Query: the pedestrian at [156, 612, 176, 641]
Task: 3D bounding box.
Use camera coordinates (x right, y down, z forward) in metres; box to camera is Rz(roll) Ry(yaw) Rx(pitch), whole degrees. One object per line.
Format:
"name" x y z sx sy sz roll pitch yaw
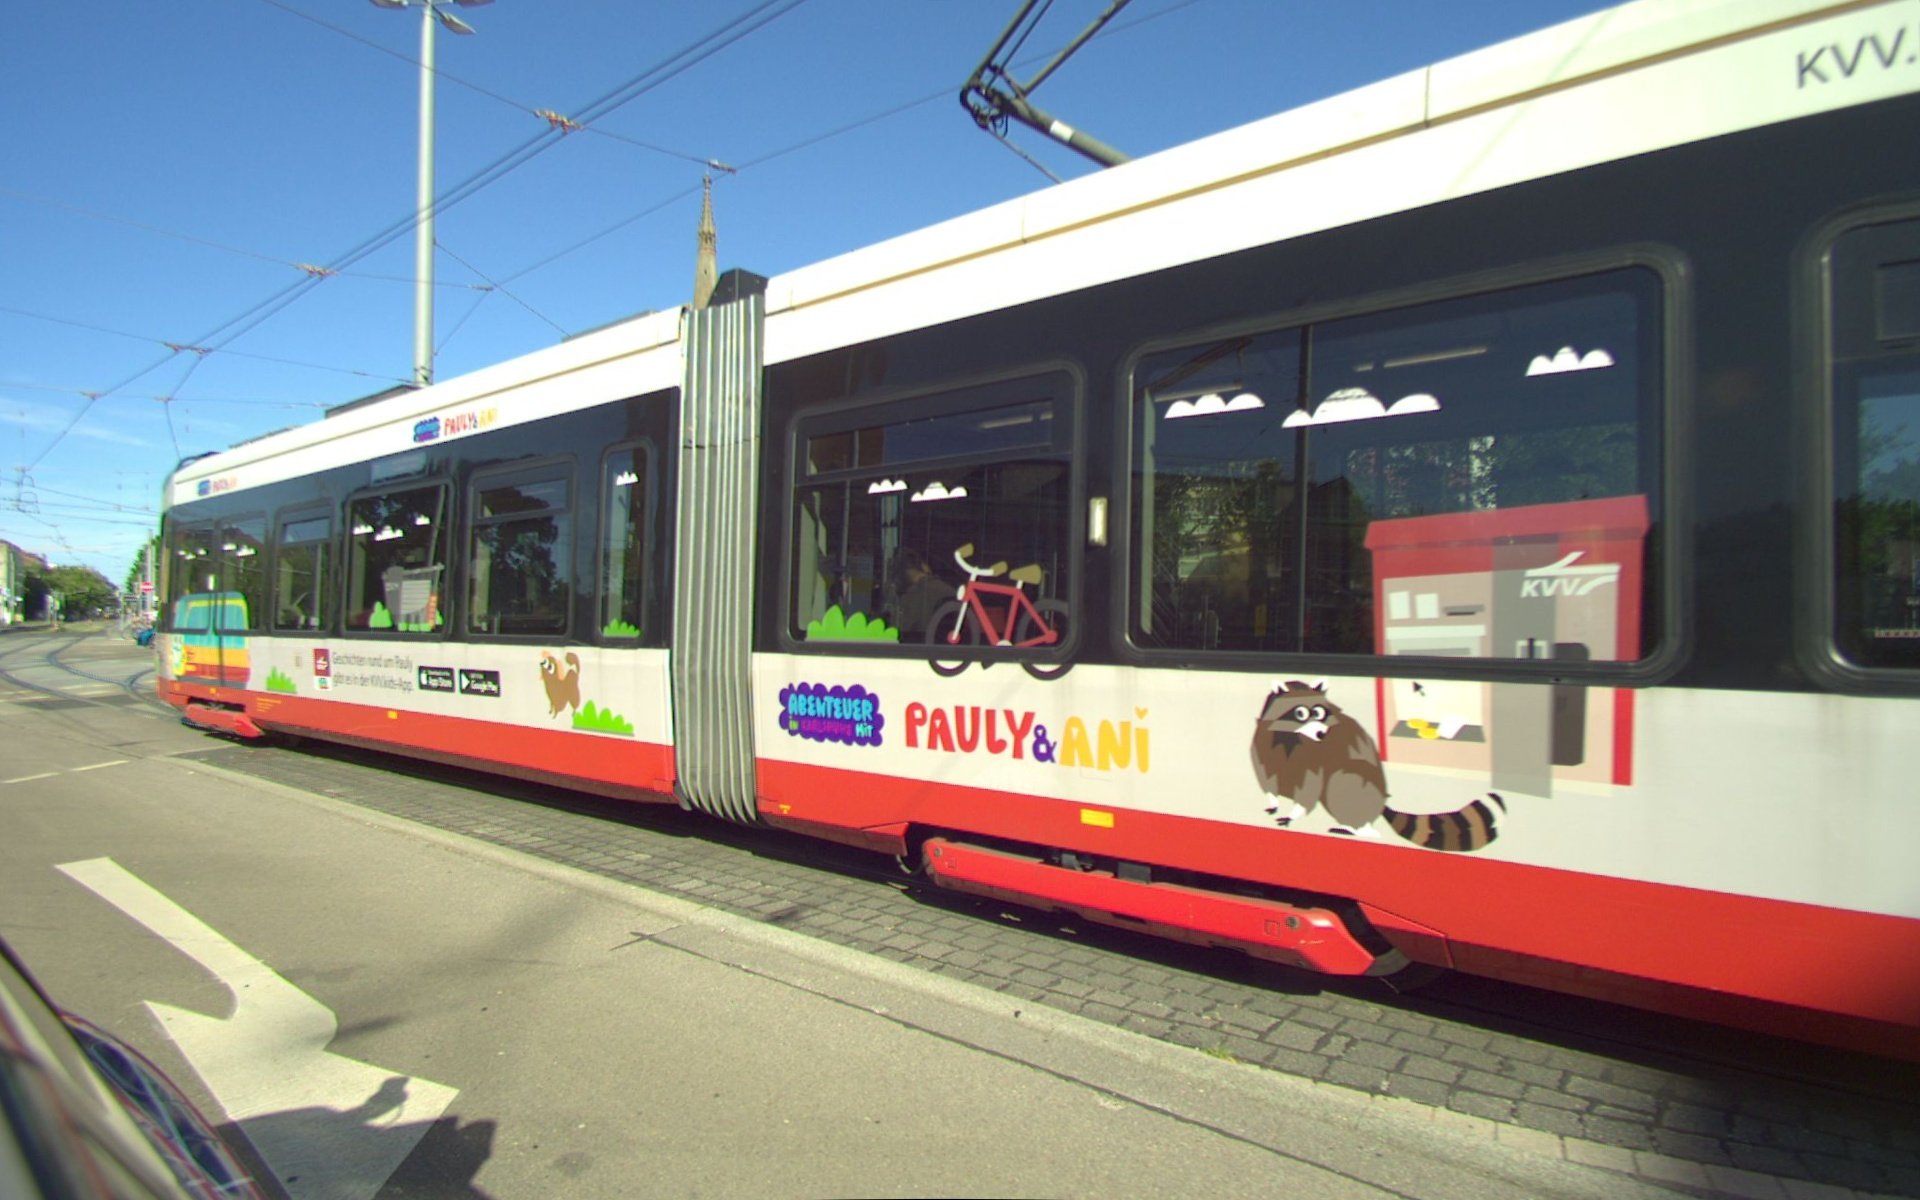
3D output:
"pedestrian" -46.085 1.521 58.749 0.604 1.619 0.708 0 1 25

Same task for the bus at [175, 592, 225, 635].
"bus" -65.704 1.085 87.413 2.806 3.144 11.841 -2 3 -40

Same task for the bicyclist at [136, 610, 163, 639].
"bicyclist" -44.784 1.334 55.921 0.592 1.561 0.988 0 0 23

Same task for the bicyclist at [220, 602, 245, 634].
"bicyclist" -38.174 0.929 53.094 0.750 1.688 0.794 0 -1 3

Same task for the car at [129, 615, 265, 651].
"car" -33.651 1.420 44.810 4.520 1.469 1.920 0 0 -25

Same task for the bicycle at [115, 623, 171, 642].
"bicycle" -45.627 1.787 56.549 0.612 0.997 2.458 0 -1 22

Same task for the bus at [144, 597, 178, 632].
"bus" -74.357 1.333 94.254 2.106 3.069 8.577 -2 0 -37

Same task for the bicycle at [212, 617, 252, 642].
"bicycle" -38.171 1.548 53.117 0.608 1.266 1.962 0 -1 3

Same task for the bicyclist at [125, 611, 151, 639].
"bicyclist" -45.737 1.383 56.322 0.573 1.540 0.949 0 1 22

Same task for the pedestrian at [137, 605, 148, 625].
"pedestrian" -76.131 1.401 94.239 0.680 1.875 0.731 -1 1 -35

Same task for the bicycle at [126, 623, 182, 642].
"bicycle" -44.697 1.818 56.135 0.612 0.997 2.458 0 -1 22

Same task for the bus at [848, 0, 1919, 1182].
"bus" 4.515 -0.420 2.491 10.714 3.617 2.813 -1 0 39

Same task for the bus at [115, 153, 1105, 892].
"bus" -5.096 -0.321 10.295 13.480 3.617 2.813 -1 0 39
